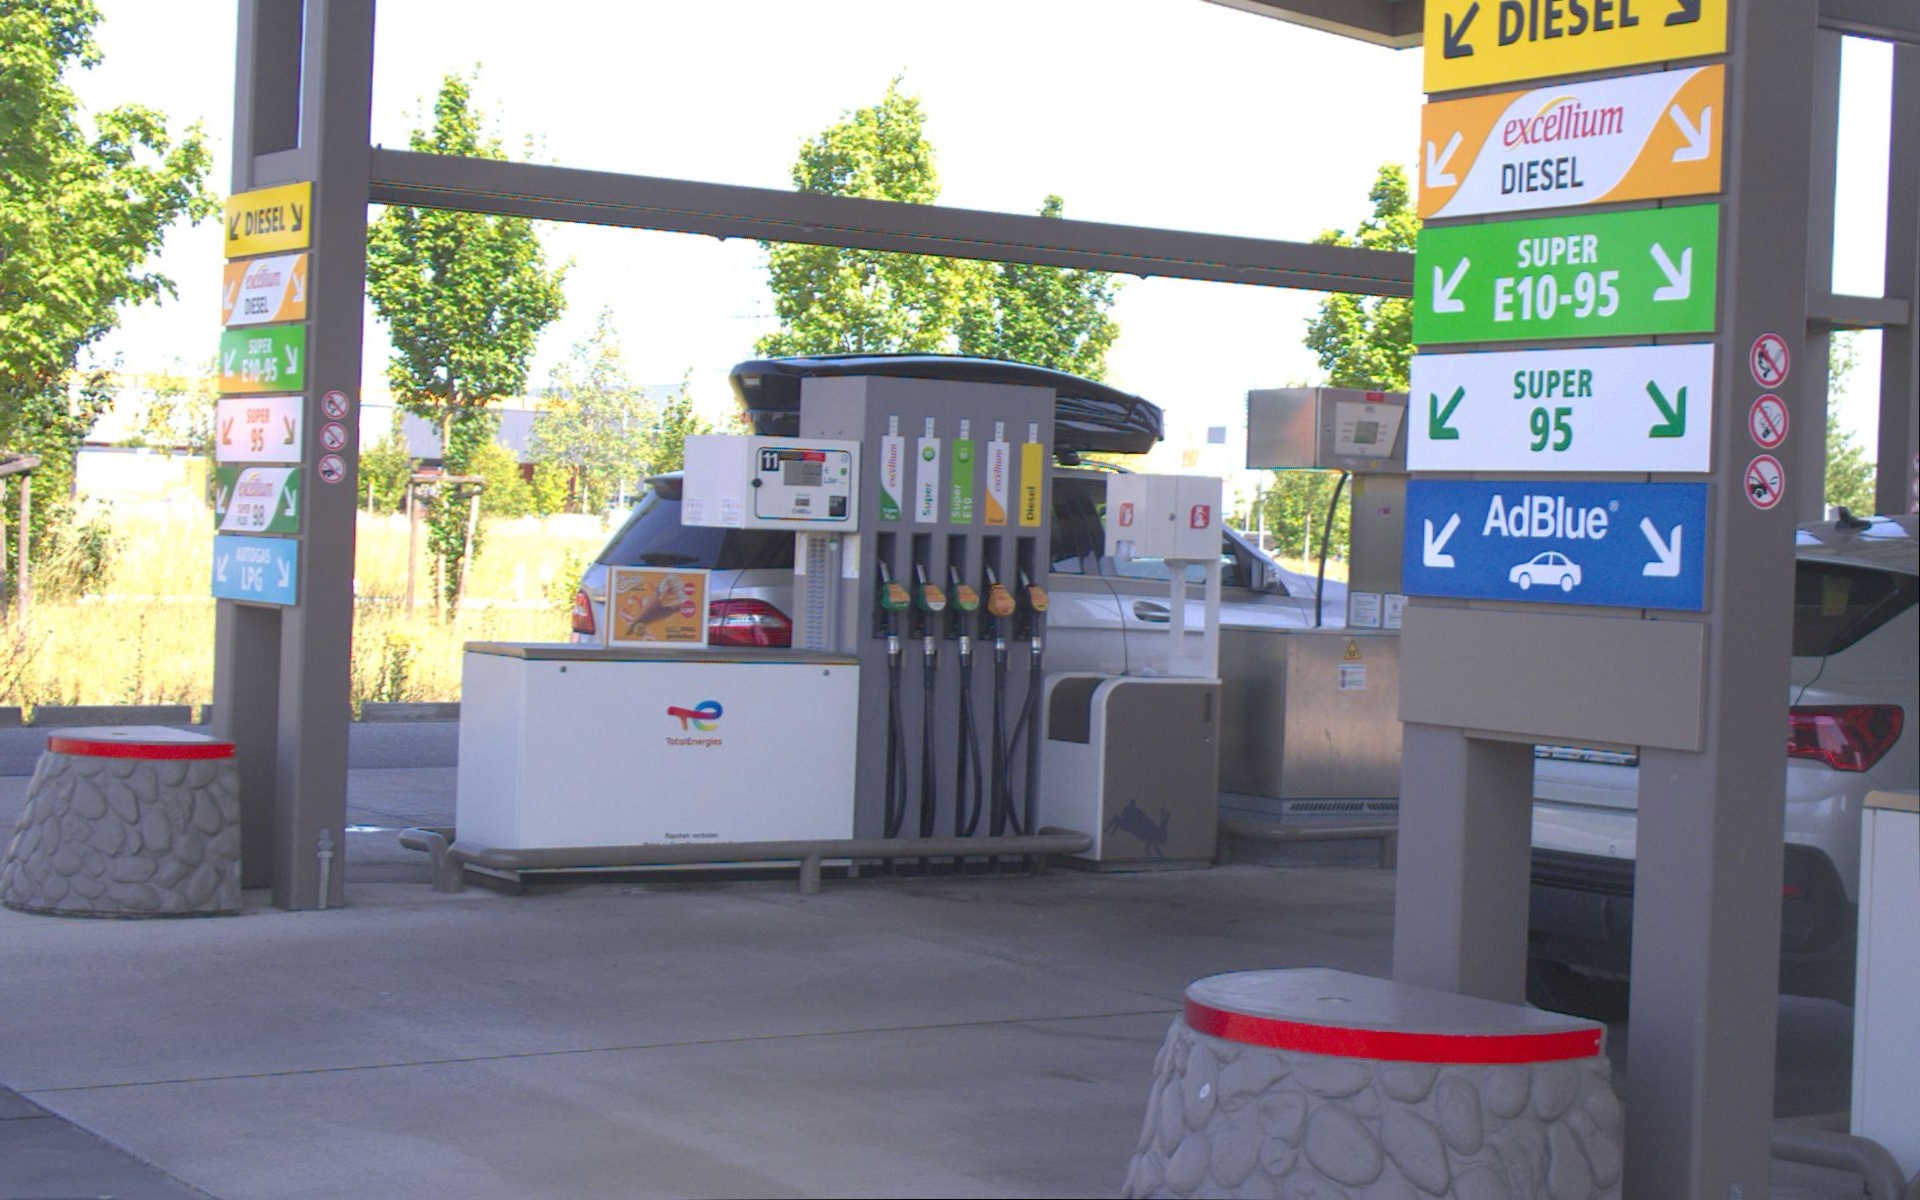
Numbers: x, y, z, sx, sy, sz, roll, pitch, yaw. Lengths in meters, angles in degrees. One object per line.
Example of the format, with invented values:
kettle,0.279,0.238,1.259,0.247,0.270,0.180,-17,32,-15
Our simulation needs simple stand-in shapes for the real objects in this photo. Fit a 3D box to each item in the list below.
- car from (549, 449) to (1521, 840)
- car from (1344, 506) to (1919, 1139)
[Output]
car,0.447,0.166,16.876,4.522,1.681,1.865,0,2,-36
car,3.440,0.546,10.352,4.311,1.536,1.786,1,2,-31
